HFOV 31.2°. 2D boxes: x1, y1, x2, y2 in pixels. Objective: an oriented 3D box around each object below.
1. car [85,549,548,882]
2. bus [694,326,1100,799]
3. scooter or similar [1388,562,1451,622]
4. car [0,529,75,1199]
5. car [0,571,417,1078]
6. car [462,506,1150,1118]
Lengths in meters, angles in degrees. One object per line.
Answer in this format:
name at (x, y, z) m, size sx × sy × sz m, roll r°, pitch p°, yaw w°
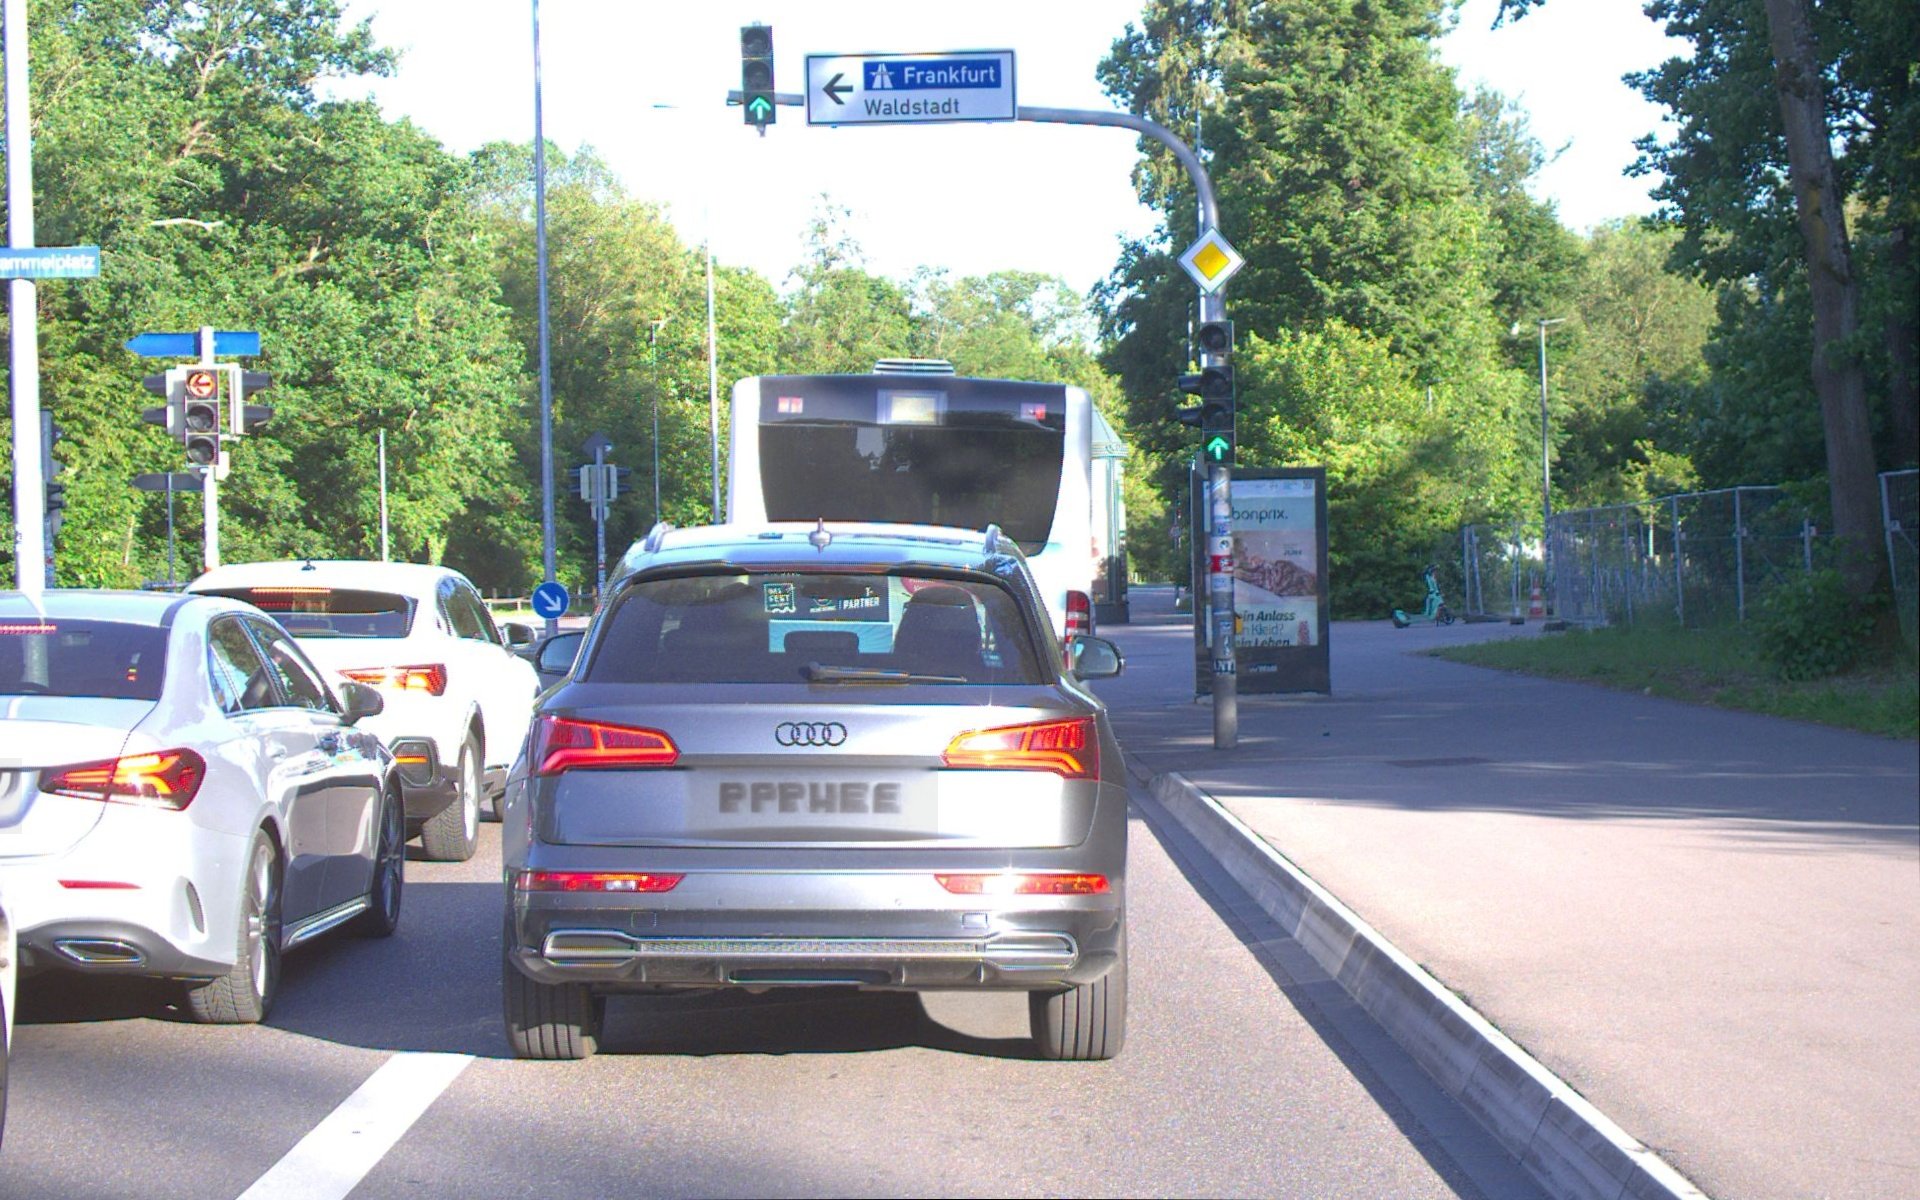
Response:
car at (-3.381, 0.535, 18.771) m, size 1.808 × 1.567 × 4.000 m, roll 1°, pitch 1°, yaw -1°
bus at (-0.400, -0.316, 26.065) m, size 2.678 × 3.131 × 5.882 m, roll 1°, pitch 1°, yaw 0°
scooter or similar at (9.228, -0.157, 69.000) m, size 1.184 × 1.170 × 0.659 m, roll 1°, pitch 1°, yaw 11°
car at (-3.034, 0.621, 6.295) m, size 1.718 × 1.575 × 4.434 m, roll 1°, pitch 0°, yaw -1°
car at (-3.160, 0.658, 12.458) m, size 1.785 × 1.439 × 4.278 m, roll 1°, pitch 1°, yaw -1°
car at (-0.454, 0.543, 11.486) m, size 1.868 × 1.658 × 4.000 m, roll 1°, pitch 1°, yaw -1°
